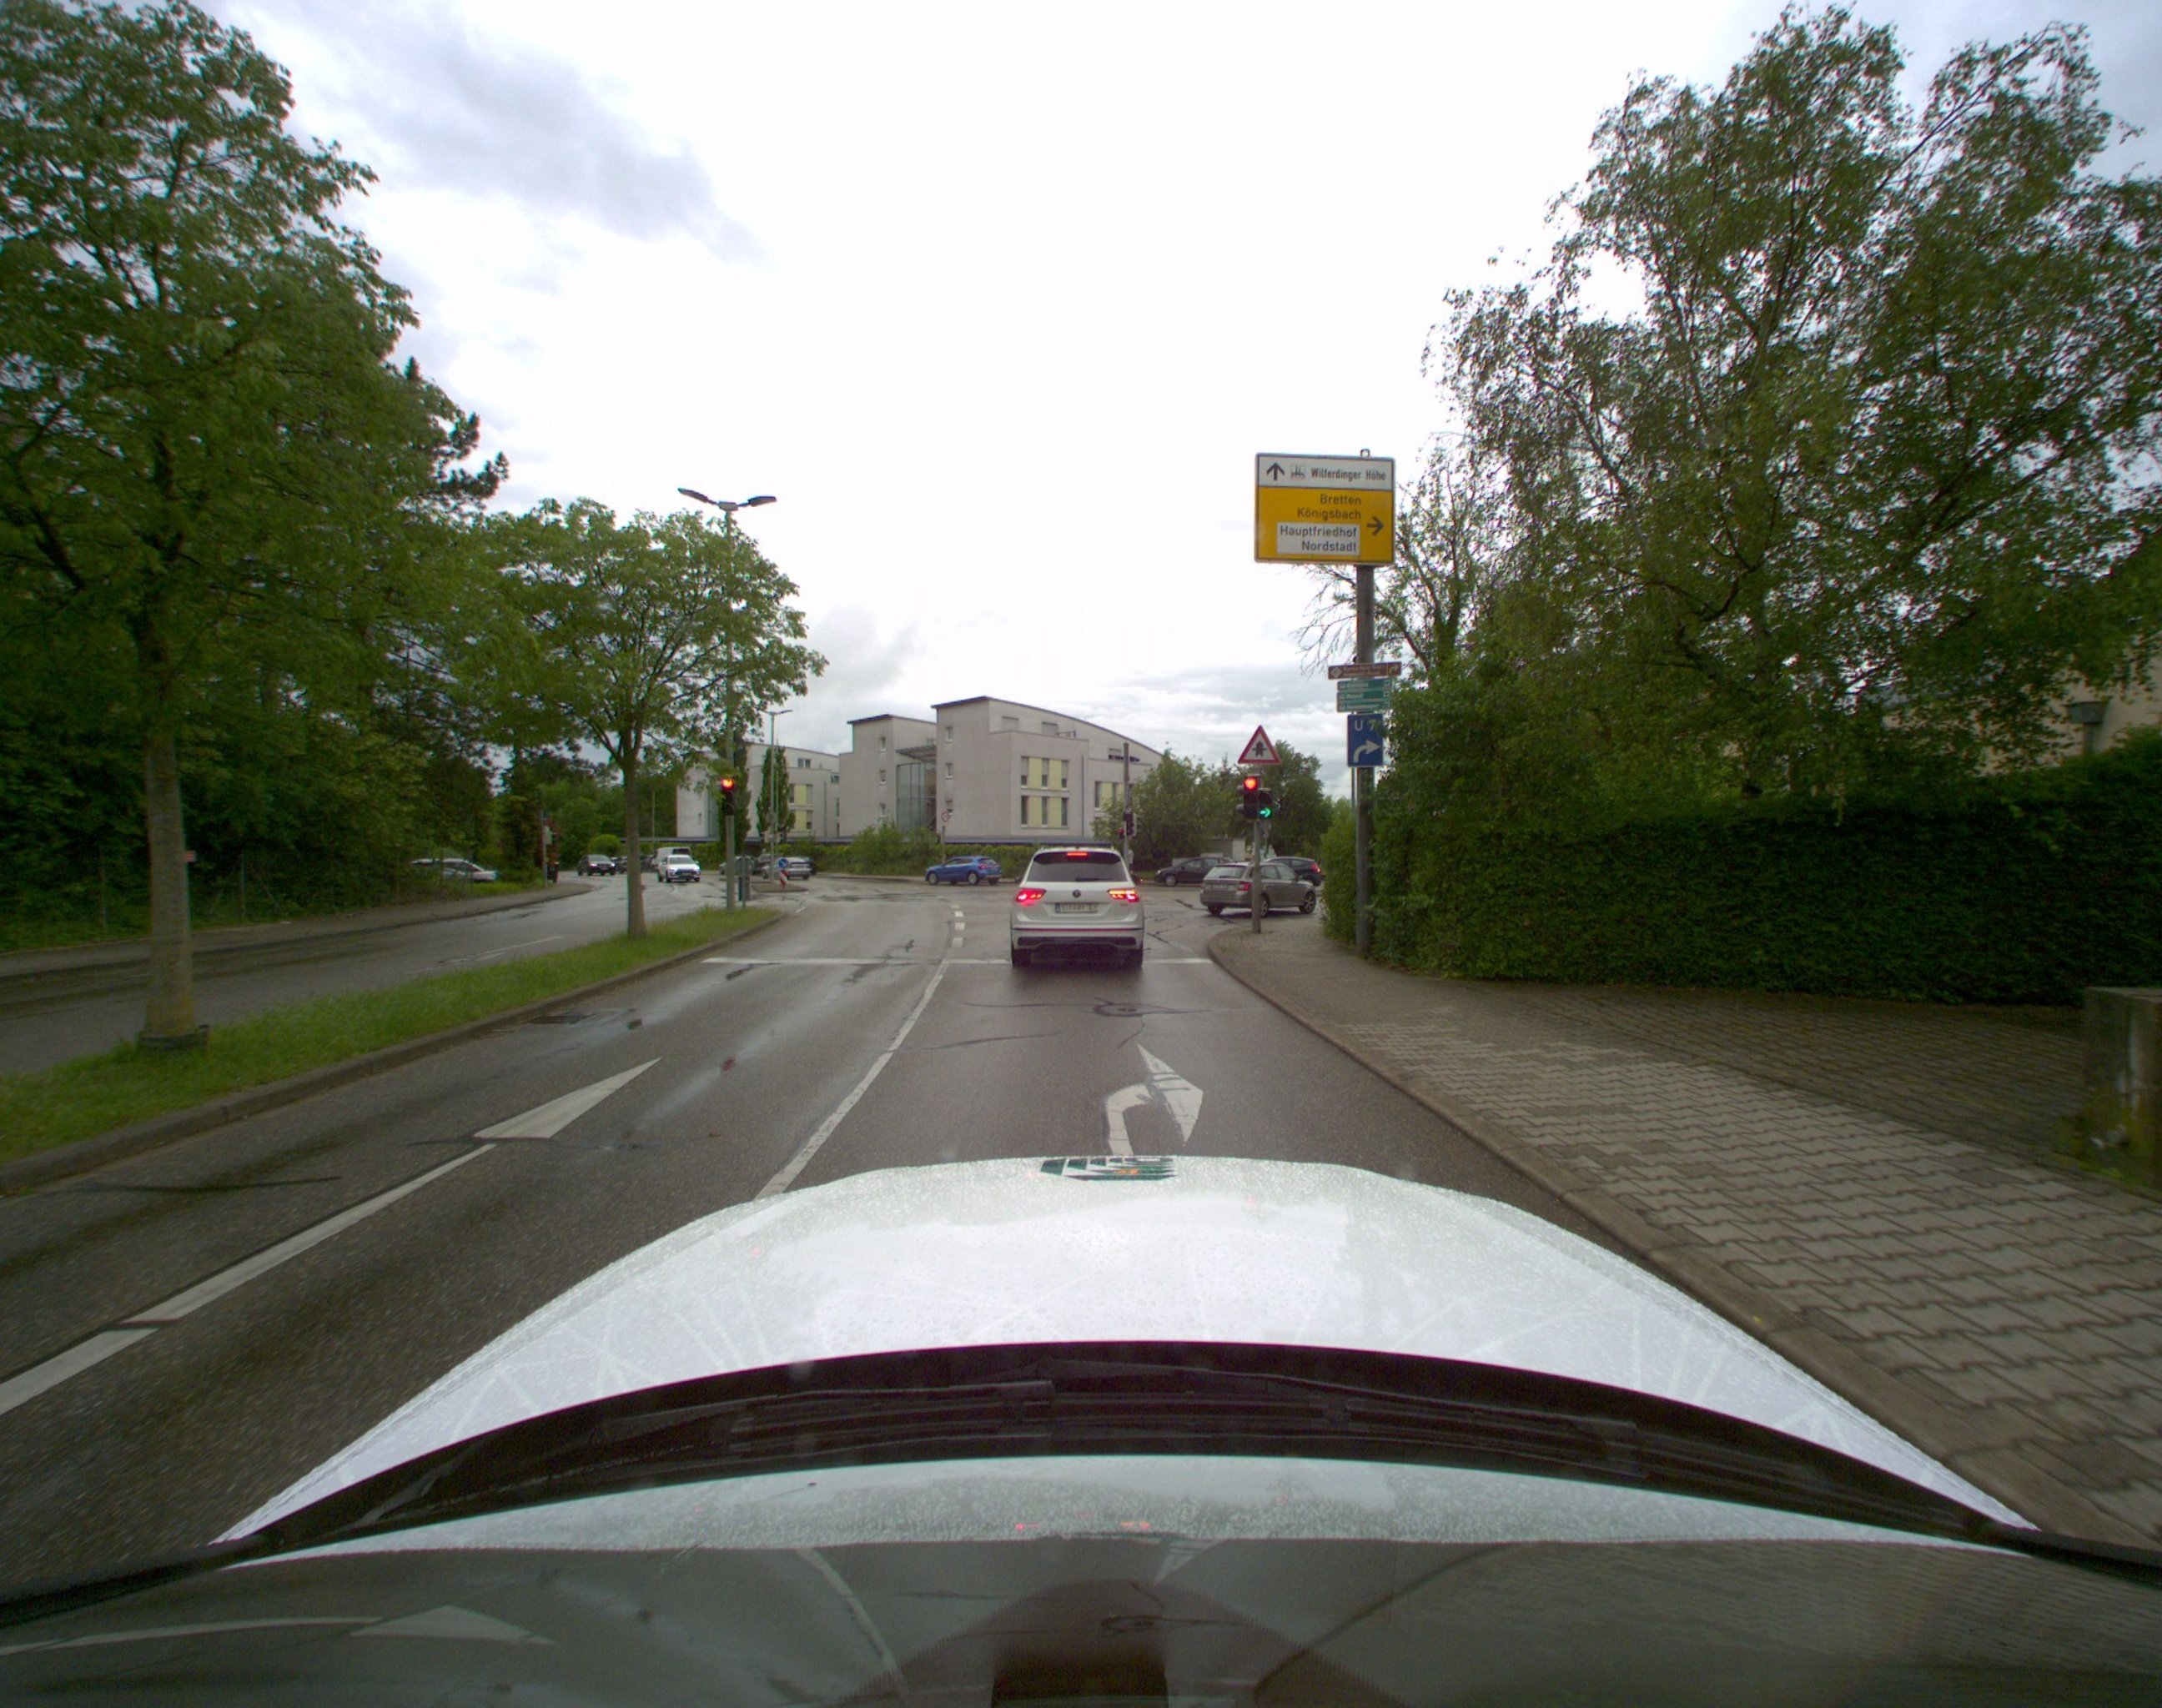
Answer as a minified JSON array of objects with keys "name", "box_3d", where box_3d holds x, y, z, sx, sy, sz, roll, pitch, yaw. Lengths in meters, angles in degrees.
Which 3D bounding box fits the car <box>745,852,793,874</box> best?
[{"name":"car","box_3d":[-24.257,0.684,63.206,3.950,1.555,2.012,1,2,44]}]

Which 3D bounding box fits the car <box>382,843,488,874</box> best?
[{"name":"car","box_3d":[-32.098,0.206,40.623,4.016,1.464,1.979,0,1,-35]}]

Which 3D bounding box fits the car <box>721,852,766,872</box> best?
[{"name":"car","box_3d":[-27.603,0.625,66.626,3.950,1.555,2.012,1,2,44]}]

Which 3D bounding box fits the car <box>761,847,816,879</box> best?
[{"name":"car","box_3d":[-19.018,0.532,52.857,2.011,1.757,3.954,0,4,-41]}]

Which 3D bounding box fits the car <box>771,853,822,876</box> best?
[{"name":"car","box_3d":[-21.008,0.721,60.123,3.950,1.555,2.012,1,2,44]}]

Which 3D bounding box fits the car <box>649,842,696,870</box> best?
[{"name":"car","box_3d":[-38.819,0.196,77.277,2.615,2.413,5.192,-1,-1,-43]}]

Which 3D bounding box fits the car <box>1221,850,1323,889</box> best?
[{"name":"car","box_3d":[8.011,0.626,34.480,3.967,1.500,1.929,1,0,5]}]

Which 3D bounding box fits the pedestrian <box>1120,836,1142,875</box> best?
[{"name":"pedestrian","box_3d":[2.631,0.066,42.920,0.791,2.013,0.855,1,2,33]}]

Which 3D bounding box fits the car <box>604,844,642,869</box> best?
[{"name":"car","box_3d":[-42.273,0.243,75.161,3.952,2.013,1.992,5,4,45]}]

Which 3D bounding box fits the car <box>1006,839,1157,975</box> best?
[{"name":"car","box_3d":[-0.100,0.685,12.486,1.916,1.722,4.260,0,0,-3]}]

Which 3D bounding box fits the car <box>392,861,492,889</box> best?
[{"name":"car","box_3d":[-30.026,0.959,38.410,3.602,1.241,1.635,0,1,-35]}]

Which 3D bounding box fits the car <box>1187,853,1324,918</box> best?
[{"name":"car","box_3d":[4.937,0.810,22.764,4.023,1.509,1.750,-1,4,-45]}]

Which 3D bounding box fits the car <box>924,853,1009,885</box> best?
[{"name":"car","box_3d":[-5.947,0.728,42.420,3.949,1.555,2.013,0,2,30]}]

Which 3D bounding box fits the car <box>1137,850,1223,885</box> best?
[{"name":"car","box_3d":[4.740,0.619,38.698,3.963,1.551,2.006,0,3,9]}]

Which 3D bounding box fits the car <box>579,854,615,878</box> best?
[{"name":"car","box_3d":[-40.600,0.953,68.304,2.010,1.815,3.954,-1,2,-40]}]

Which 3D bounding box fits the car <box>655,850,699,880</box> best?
[{"name":"car","box_3d":[-24.442,0.632,49.206,2.007,1.640,3.960,0,1,-33]}]
